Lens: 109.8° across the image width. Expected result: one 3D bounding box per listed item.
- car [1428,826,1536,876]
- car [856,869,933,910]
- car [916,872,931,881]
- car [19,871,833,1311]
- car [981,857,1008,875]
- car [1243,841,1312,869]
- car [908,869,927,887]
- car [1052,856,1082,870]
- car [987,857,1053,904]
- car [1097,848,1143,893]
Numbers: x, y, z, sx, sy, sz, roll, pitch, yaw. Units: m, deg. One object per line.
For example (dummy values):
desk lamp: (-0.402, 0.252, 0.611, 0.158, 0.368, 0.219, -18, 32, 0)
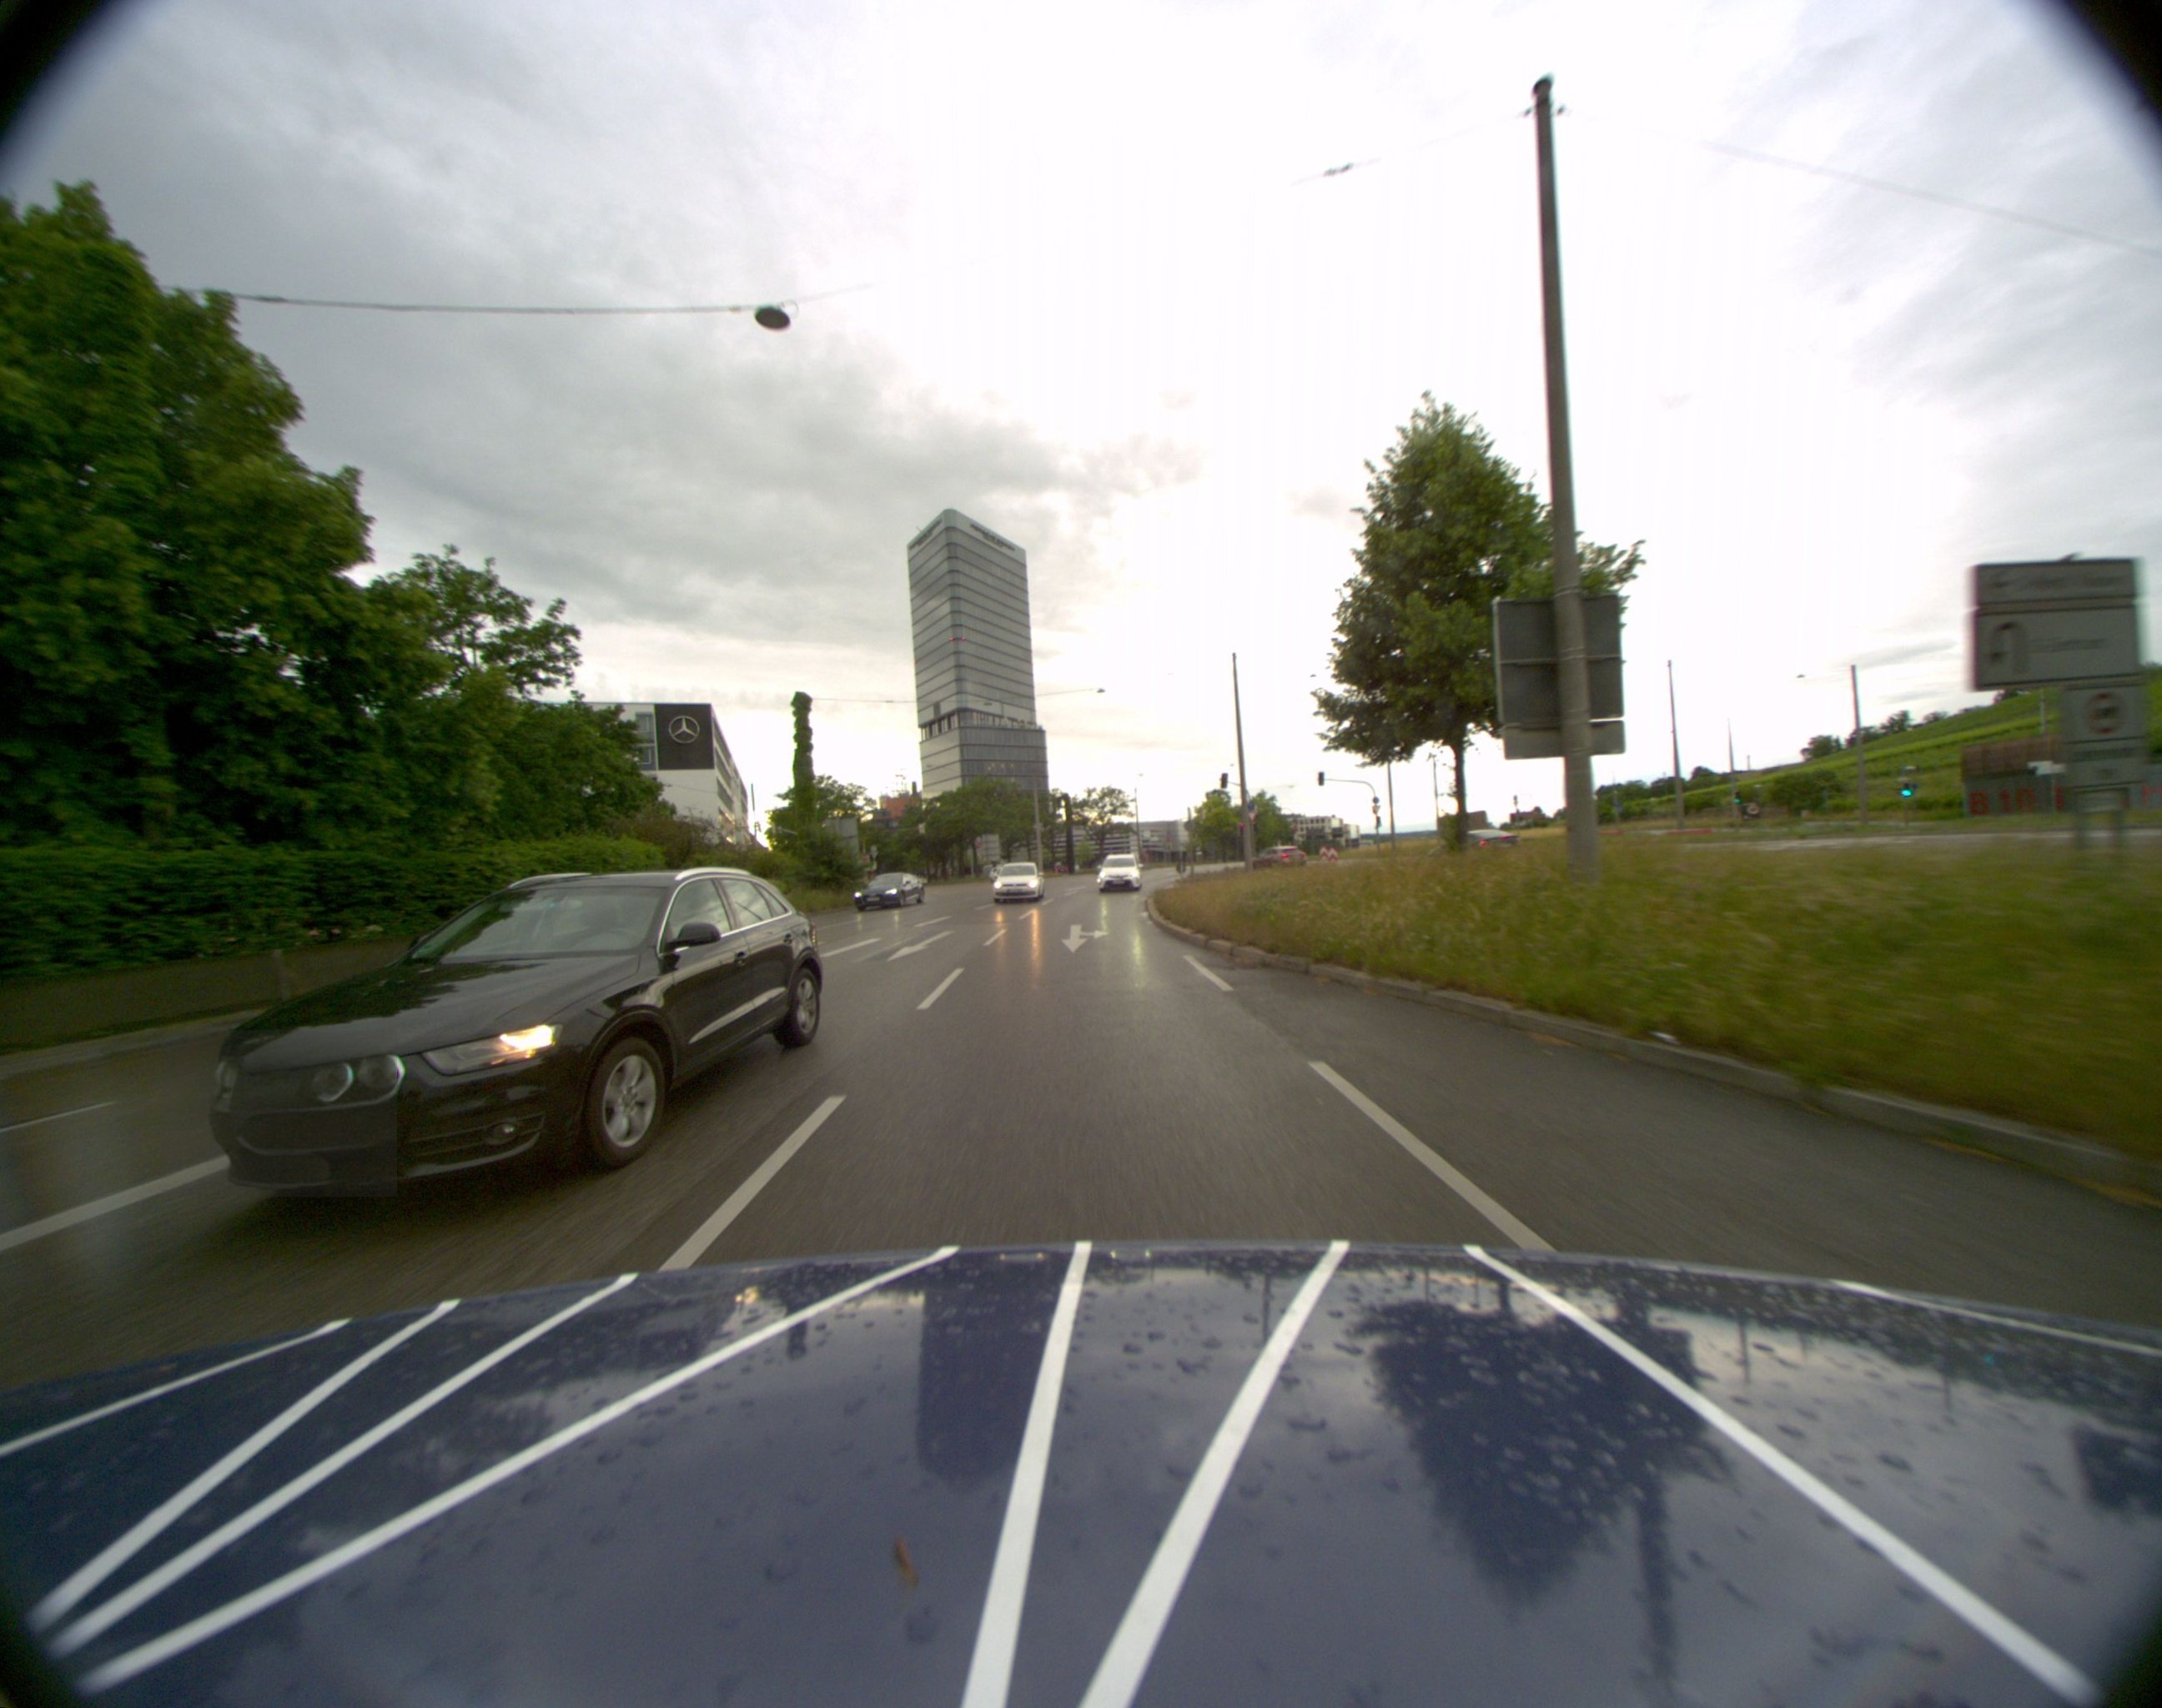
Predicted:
car: (15.125, -0.127, 28.975, 1.882, 1.644, 4.357, -4, 0, 3)
car: (-7.666, 1.439, 31.653, 1.758, 1.390, 4.001, -4, 0, 6)
car: (-28.302, 3.984, 136.491, 1.684, 1.476, 3.784, -5, 0, -26)
car: (-3.270, 0.992, 5.080, 1.730, 1.525, 4.126, -4, 0, 1)
car: (-13.387, 1.857, 117.409, 1.934, 2.569, 5.448, -5, 0, -29)
car: (11.496, 0.092, 44.800, 1.740, 1.453, 4.335, -5, 0, -19)
car: (-19.903, 2.927, 92.379, 1.613, 2.002, 3.626, -4, 0, -22)
car: (-1.818, 1.127, 96.920, 1.741, 1.587, 4.332, -5, 0, -30)
car: (-2.247, 0.960, 29.249, 1.729, 1.464, 4.265, -5, 0, 5)
car: (1.734, 0.700, 34.210, 1.827, 1.575, 4.296, -4, 3, 2)
